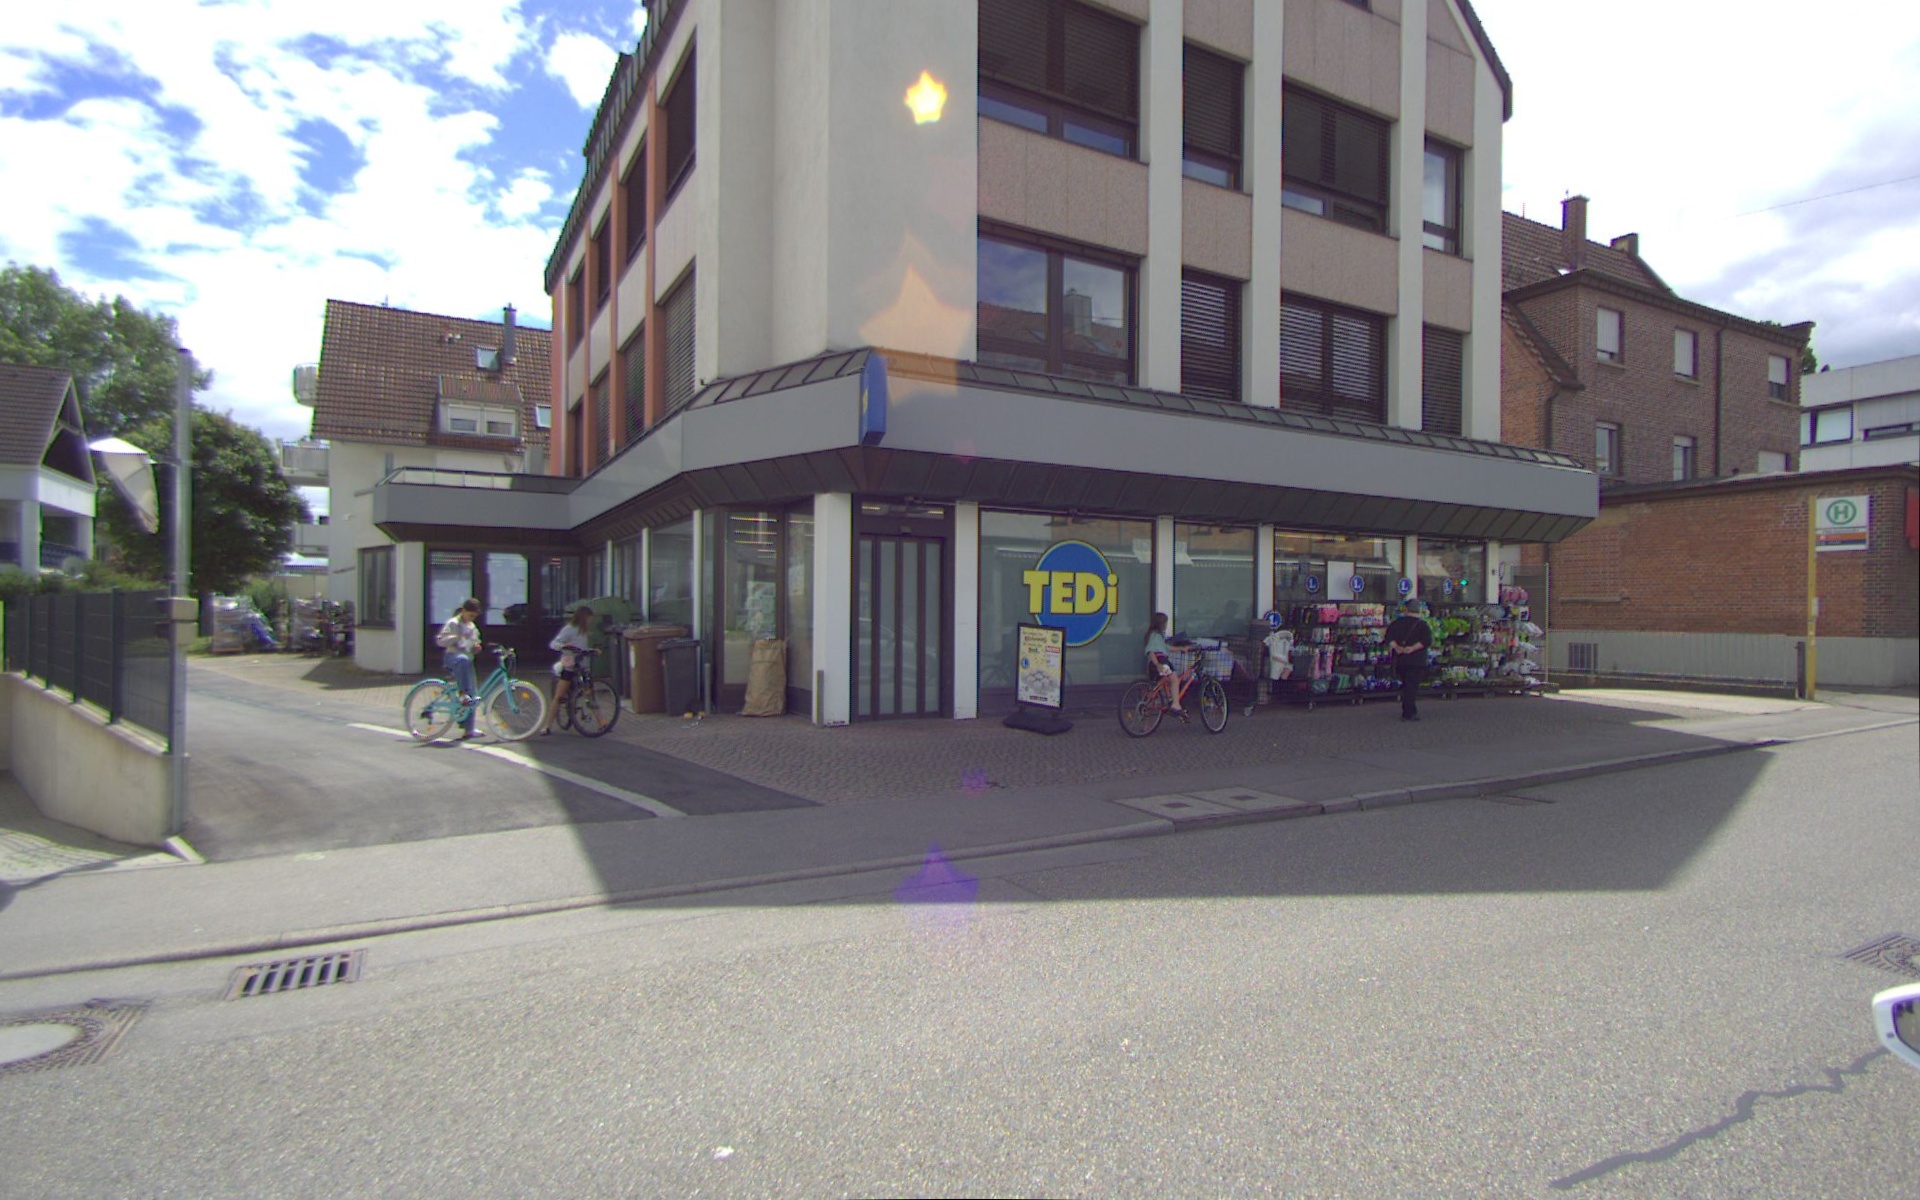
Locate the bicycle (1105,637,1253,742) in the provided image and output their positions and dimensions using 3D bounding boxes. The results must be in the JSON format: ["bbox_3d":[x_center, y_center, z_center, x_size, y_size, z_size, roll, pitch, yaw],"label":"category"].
[{"bbox_3d":[2.493,0.981,11.351,1.714,1.064,0.441,1,6,-31],"label":"bicycle"}]

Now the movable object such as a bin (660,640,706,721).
[{"bbox_3d":[-3.370,0.966,12.225,0.438,0.923,0.405,-2,1,-30],"label":"movable object such as a bin"}]

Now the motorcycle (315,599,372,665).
[{"bbox_3d":[-15.510,0.767,25.359,0.849,1.539,3.778,1,-1,-26],"label":"motorcycle"}]

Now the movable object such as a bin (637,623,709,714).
[{"bbox_3d":[-3.668,0.852,12.815,0.729,1.080,0.680,-2,1,-30],"label":"movable object such as a bin"}]

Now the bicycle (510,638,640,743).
[{"bbox_3d":[-4.089,0.918,10.613,1.666,0.967,0.552,0,0,40],"label":"bicycle"}]

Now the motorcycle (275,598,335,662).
[{"bbox_3d":[-16.981,0.755,26.117,0.849,1.539,3.595,1,-1,-26],"label":"motorcycle"}]

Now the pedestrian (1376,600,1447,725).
[{"bbox_3d":[5.959,0.807,13.285,0.757,1.579,0.574,2,0,20],"label":"pedestrian"}]

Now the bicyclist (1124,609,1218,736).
[{"bbox_3d":[2.407,0.805,11.500,0.753,1.355,0.664,1,4,-30],"label":"bicyclist"}]

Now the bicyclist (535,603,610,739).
[{"bbox_3d":[-4.102,0.731,10.635,0.418,1.384,0.586,0,1,39],"label":"bicyclist"}]

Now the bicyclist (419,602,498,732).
[{"bbox_3d":[-5.026,0.656,10.094,0.418,1.258,0.642,2,0,3],"label":"bicyclist"}]

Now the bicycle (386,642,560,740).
[{"bbox_3d":[-4.873,0.900,10.086,1.557,0.929,0.459,0,0,6],"label":"bicycle"}]
